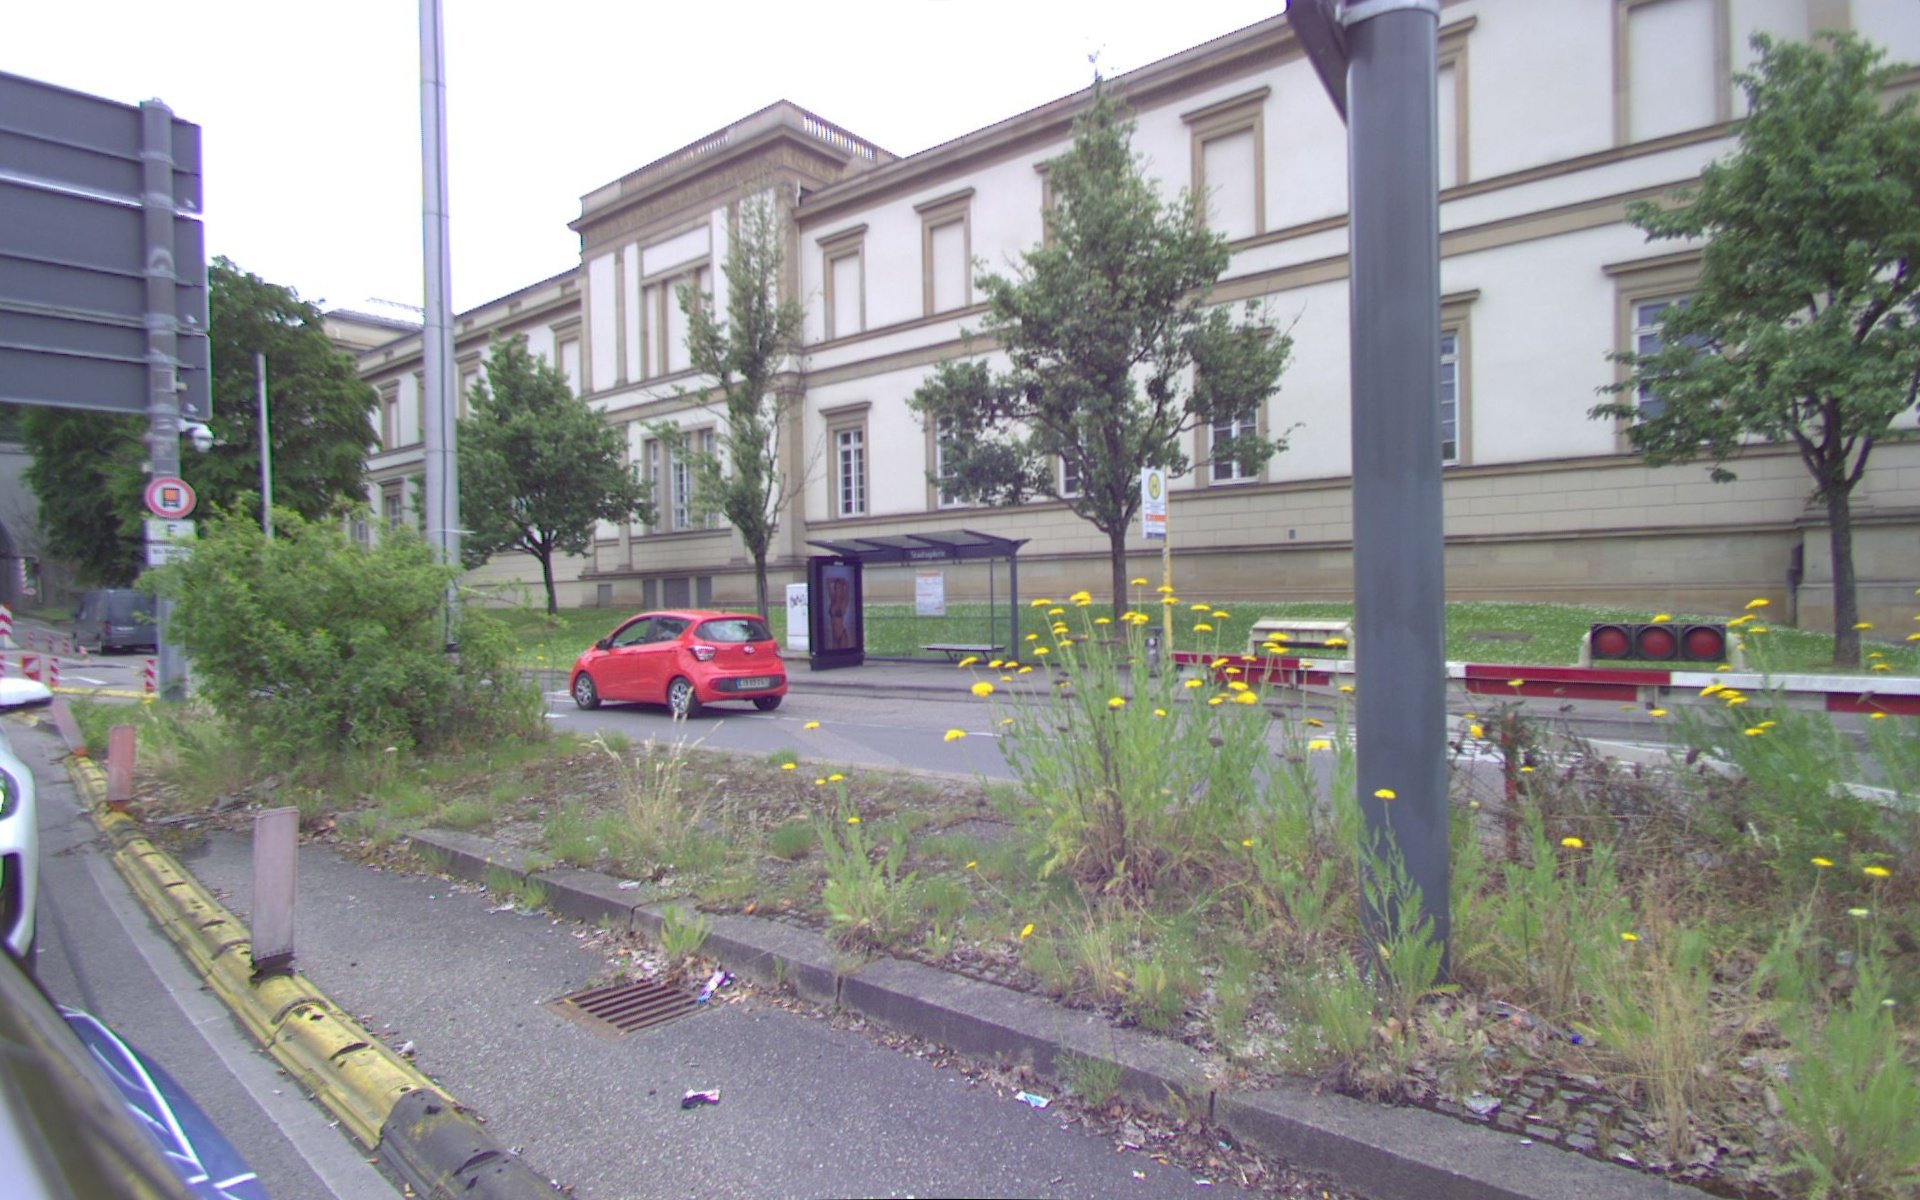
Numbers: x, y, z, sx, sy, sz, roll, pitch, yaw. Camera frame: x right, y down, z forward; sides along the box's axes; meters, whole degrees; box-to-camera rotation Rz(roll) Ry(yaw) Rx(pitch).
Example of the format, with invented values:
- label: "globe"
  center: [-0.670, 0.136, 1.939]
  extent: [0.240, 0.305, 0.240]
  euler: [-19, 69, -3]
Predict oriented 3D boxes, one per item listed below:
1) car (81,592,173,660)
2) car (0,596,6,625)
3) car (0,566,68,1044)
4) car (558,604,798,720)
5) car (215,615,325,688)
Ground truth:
- label: "car"
  center: [-32.973, 0.994, 40.010]
  extent: [4.758, 2.527, 2.174]
  euler: [-1, 0, 43]
- label: "car"
  center: [-60.388, 0.654, 62.512]
  extent: [4.001, 1.736, 1.920]
  euler: [-1, 0, 44]
- label: "car"
  center: [-5.191, 0.725, 4.063]
  extent: [3.668, 1.637, 1.962]
  euler: [-1, 0, 41]
- label: "car"
  center: [-4.209, 0.843, 14.892]
  extent: [3.570, 1.489, 1.626]
  euler: [-1, -1, 39]
- label: "car"
  center: [-17.286, 1.206, 25.287]
  extent: [1.752, 1.630, 3.808]
  euler: [-1, 0, -42]
